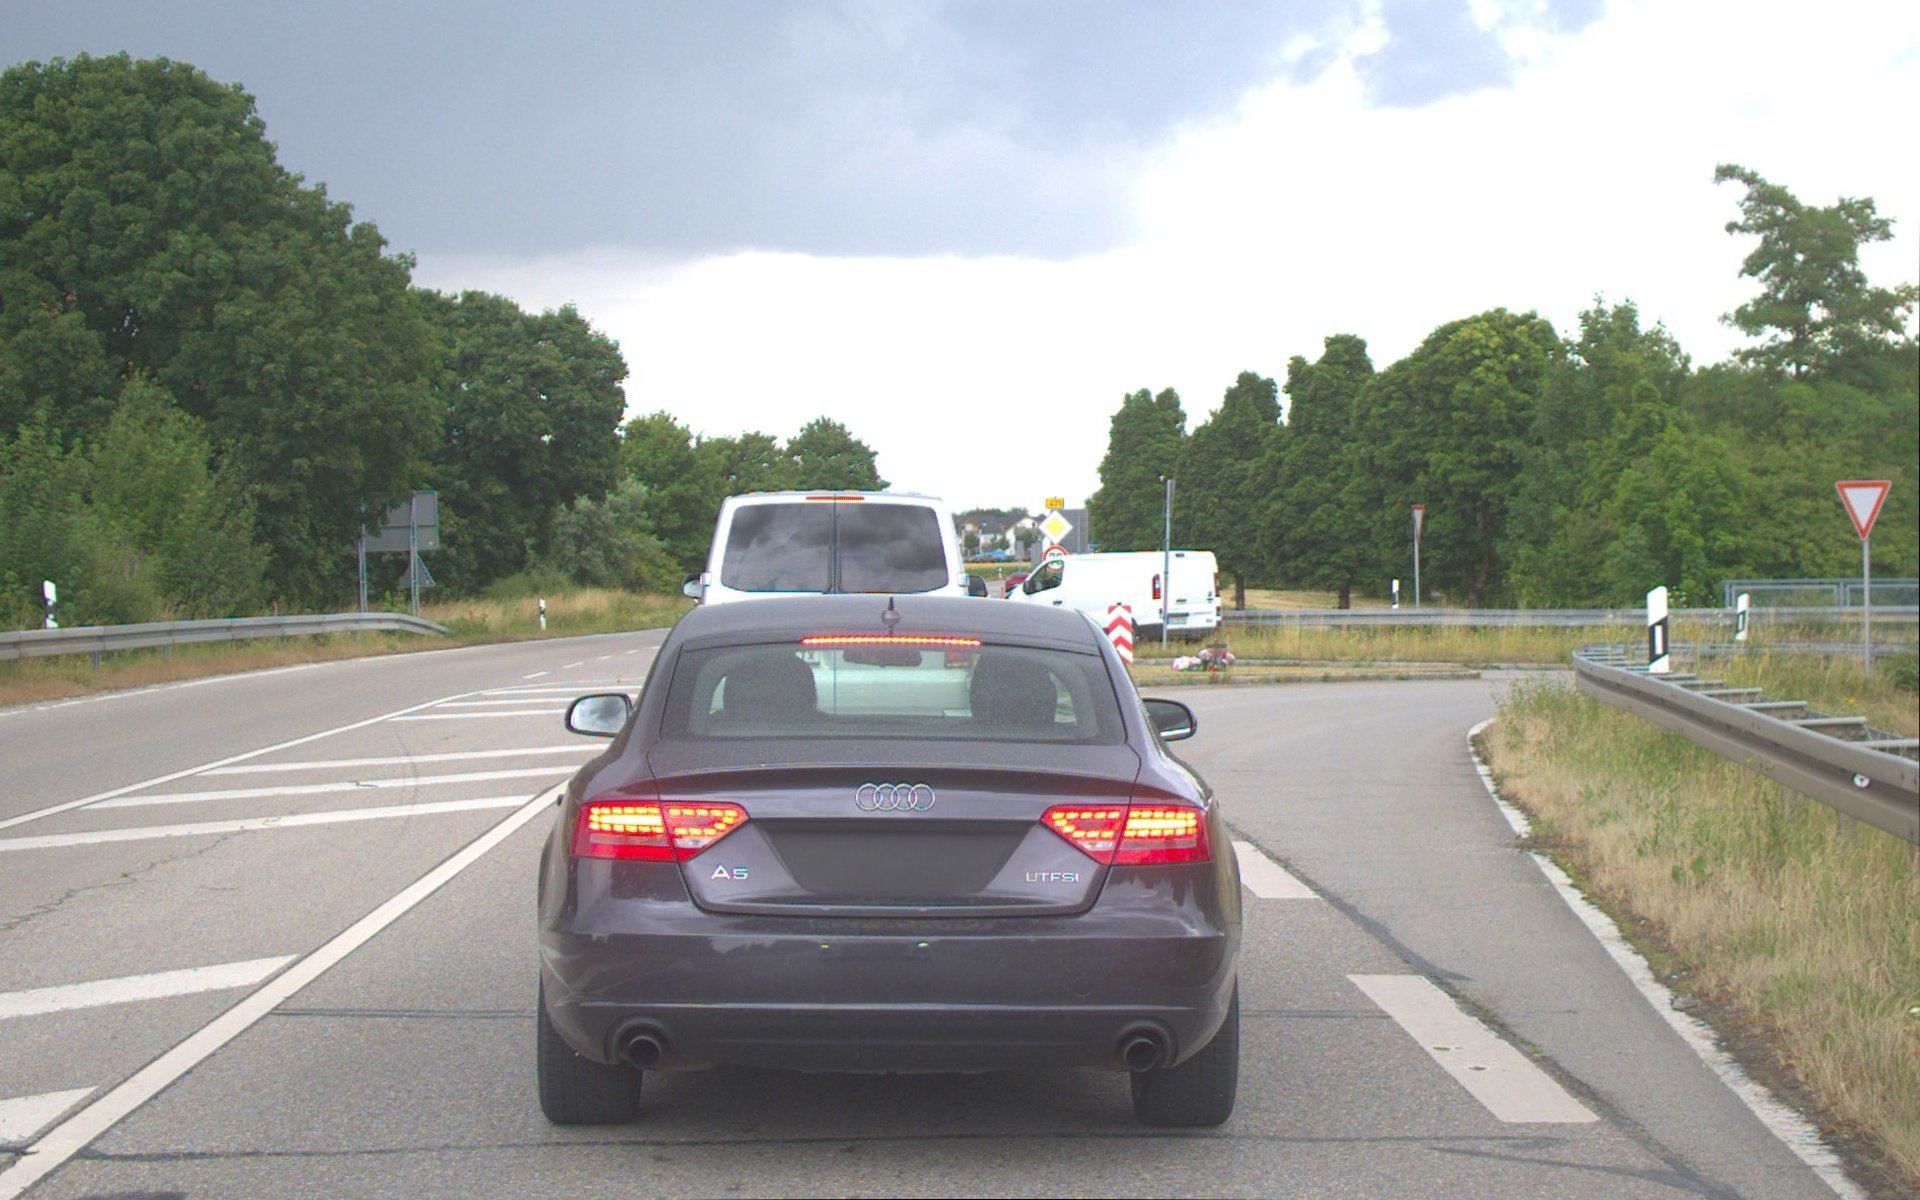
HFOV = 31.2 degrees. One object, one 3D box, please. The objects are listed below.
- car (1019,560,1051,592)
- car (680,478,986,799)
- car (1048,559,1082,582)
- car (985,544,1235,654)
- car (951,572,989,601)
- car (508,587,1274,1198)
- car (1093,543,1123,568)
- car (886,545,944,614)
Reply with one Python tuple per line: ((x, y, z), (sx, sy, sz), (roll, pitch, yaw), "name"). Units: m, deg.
((4.832, -1.561, 221.135), (1.993, 2.007, 4.000), (1, 1, 1), "car")
((-0.864, 0.206, 23.761), (1.910, 2.007, 4.000), (1, 1, -2), "car")
((7.556, -2.124, 247.568), (2.205, 1.577, 4.379), (1, 1, -2), "car")
((2.946, -0.045, 68.415), (2.082, 2.057, 4.873), (0, 1, -43), "car")
((0.507, -0.682, 173.203), (1.523, 1.394, 3.182), (0, -1, 7), "car")
((-0.215, 0.678, 9.684), (1.779, 1.394, 3.337), (0, 1, -2), "car")
((10.417, -3.159, 242.437), (1.993, 1.686, 4.000), (1, 1, 1), "car")
((-1.622, -0.753, 125.035), (1.993, 2.400, 4.000), (2, 1, 0), "car")
